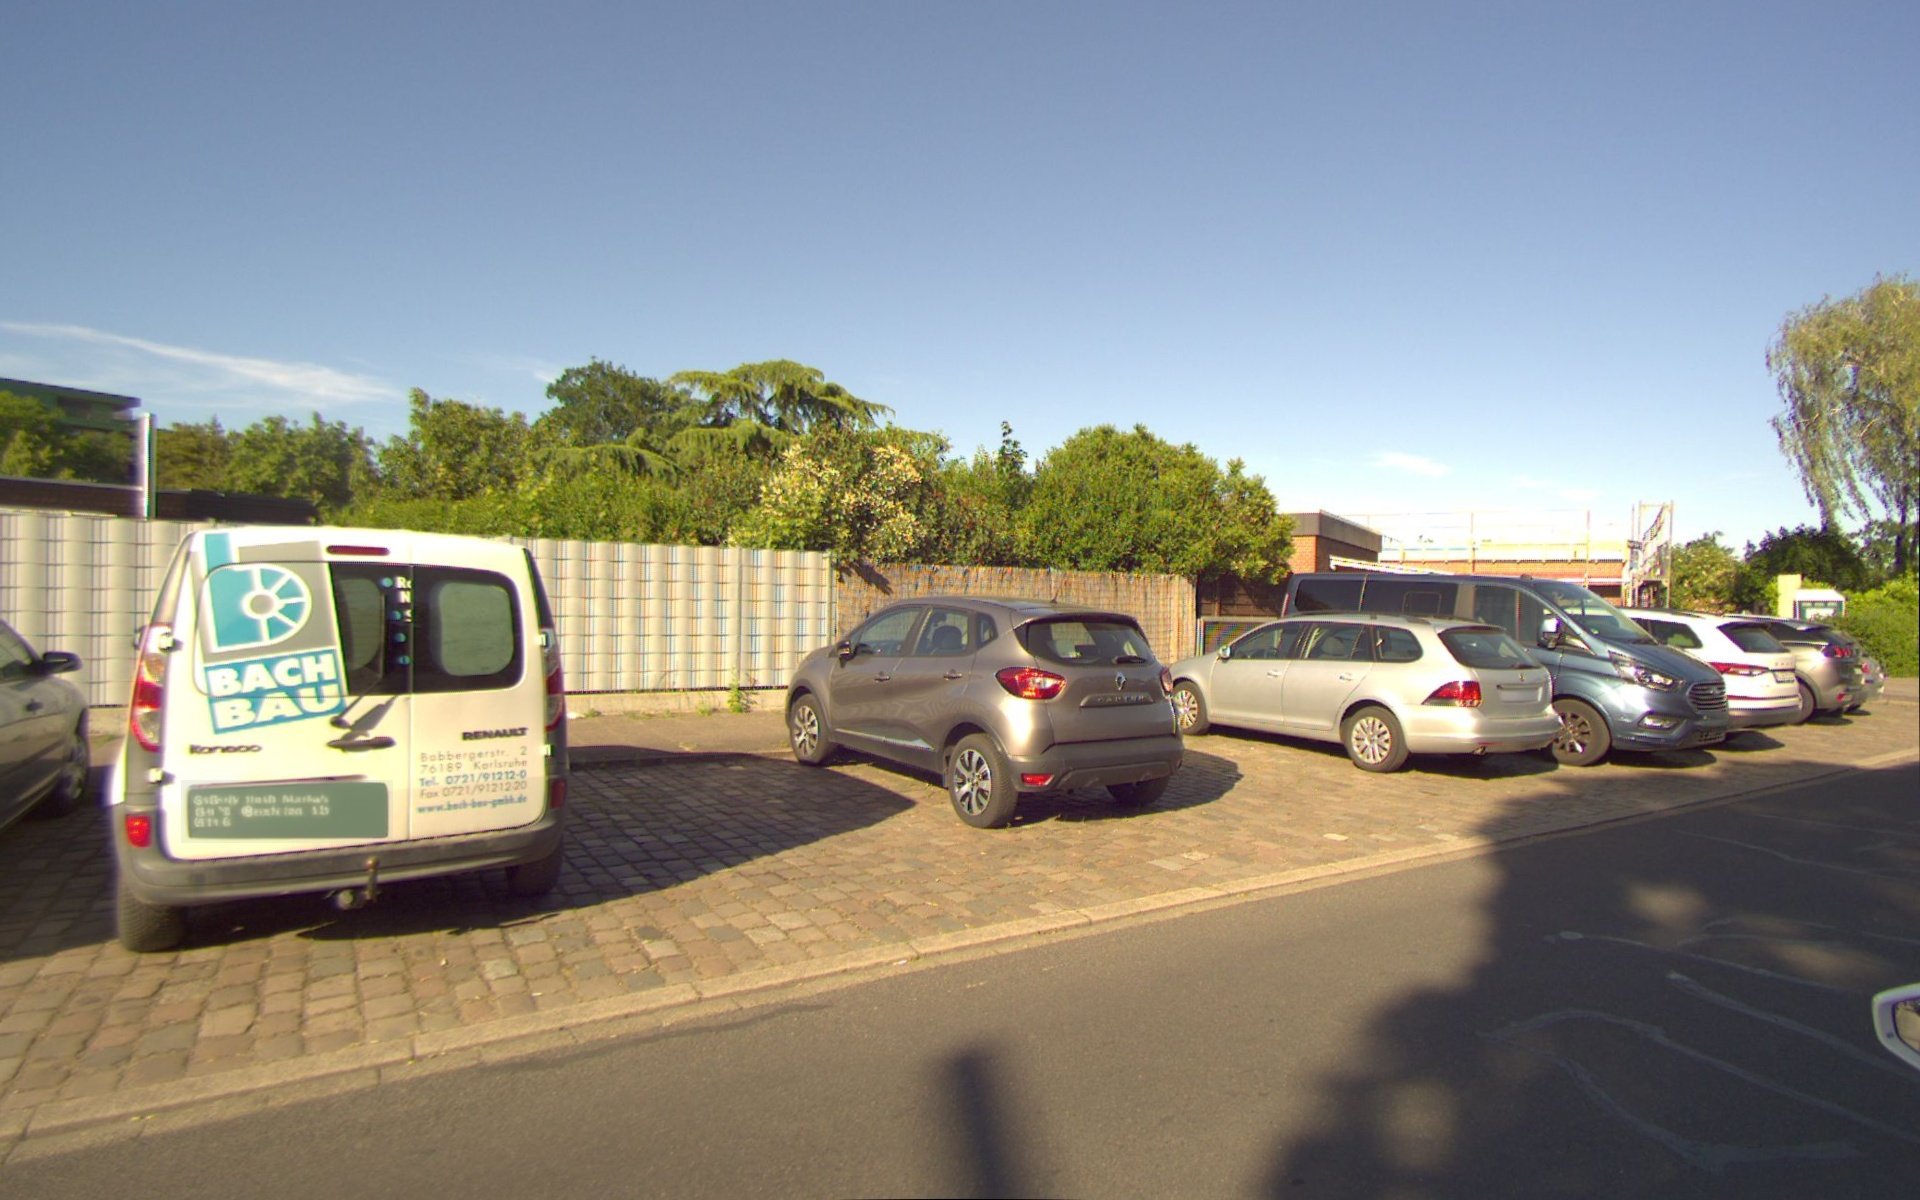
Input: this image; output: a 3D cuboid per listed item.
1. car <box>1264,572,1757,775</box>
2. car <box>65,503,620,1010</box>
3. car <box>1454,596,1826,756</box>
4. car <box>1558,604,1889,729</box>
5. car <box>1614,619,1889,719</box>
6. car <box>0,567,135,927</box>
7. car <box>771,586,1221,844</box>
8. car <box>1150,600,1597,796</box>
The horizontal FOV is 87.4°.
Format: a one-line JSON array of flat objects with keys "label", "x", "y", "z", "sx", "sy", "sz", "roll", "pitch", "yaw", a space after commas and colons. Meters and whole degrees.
[{"label": "car", "x": 6.306, "y": 0.680, "z": 12.159, "sx": 1.979, "sy": 1.941, "sz": 4.841, "roll": 2, "pitch": 0, "yaw": -34}, {"label": "car", "x": -3.425, "y": 0.514, "z": 5.751, "sx": 1.905, "sy": 1.804, "sz": 3.954, "roll": 1, "pitch": 1, "yaw": -33}, {"label": "car", "x": 8.696, "y": 0.873, "z": 13.159, "sx": 1.713, "sy": 1.628, "sz": 3.595, "roll": 2, "pitch": 2, "yaw": -30}, {"label": "car", "x": 12.550, "y": 1.005, "z": 16.786, "sx": 1.797, "sy": 1.634, "sz": 3.967, "roll": 2, "pitch": 2, "yaw": -30}, {"label": "car", "x": 14.295, "y": 1.171, "z": 18.298, "sx": 1.621, "sy": 1.478, "sz": 3.656, "roll": 2, "pitch": 1, "yaw": -39}, {"label": "car", "x": -5.342, "y": 0.621, "z": 4.697, "sx": 1.707, "sy": 1.509, "sz": 3.496, "roll": 2, "pitch": 2, "yaw": -30}, {"label": "car", "x": 0.066, "y": 0.714, "z": 8.293, "sx": 1.771, "sy": 1.553, "sz": 3.788, "roll": 2, "pitch": 0, "yaw": -35}, {"label": "car", "x": 4.192, "y": 0.869, "z": 10.868, "sx": 1.904, "sy": 1.512, "sz": 4.115, "roll": 2, "pitch": 1, "yaw": -31}]
